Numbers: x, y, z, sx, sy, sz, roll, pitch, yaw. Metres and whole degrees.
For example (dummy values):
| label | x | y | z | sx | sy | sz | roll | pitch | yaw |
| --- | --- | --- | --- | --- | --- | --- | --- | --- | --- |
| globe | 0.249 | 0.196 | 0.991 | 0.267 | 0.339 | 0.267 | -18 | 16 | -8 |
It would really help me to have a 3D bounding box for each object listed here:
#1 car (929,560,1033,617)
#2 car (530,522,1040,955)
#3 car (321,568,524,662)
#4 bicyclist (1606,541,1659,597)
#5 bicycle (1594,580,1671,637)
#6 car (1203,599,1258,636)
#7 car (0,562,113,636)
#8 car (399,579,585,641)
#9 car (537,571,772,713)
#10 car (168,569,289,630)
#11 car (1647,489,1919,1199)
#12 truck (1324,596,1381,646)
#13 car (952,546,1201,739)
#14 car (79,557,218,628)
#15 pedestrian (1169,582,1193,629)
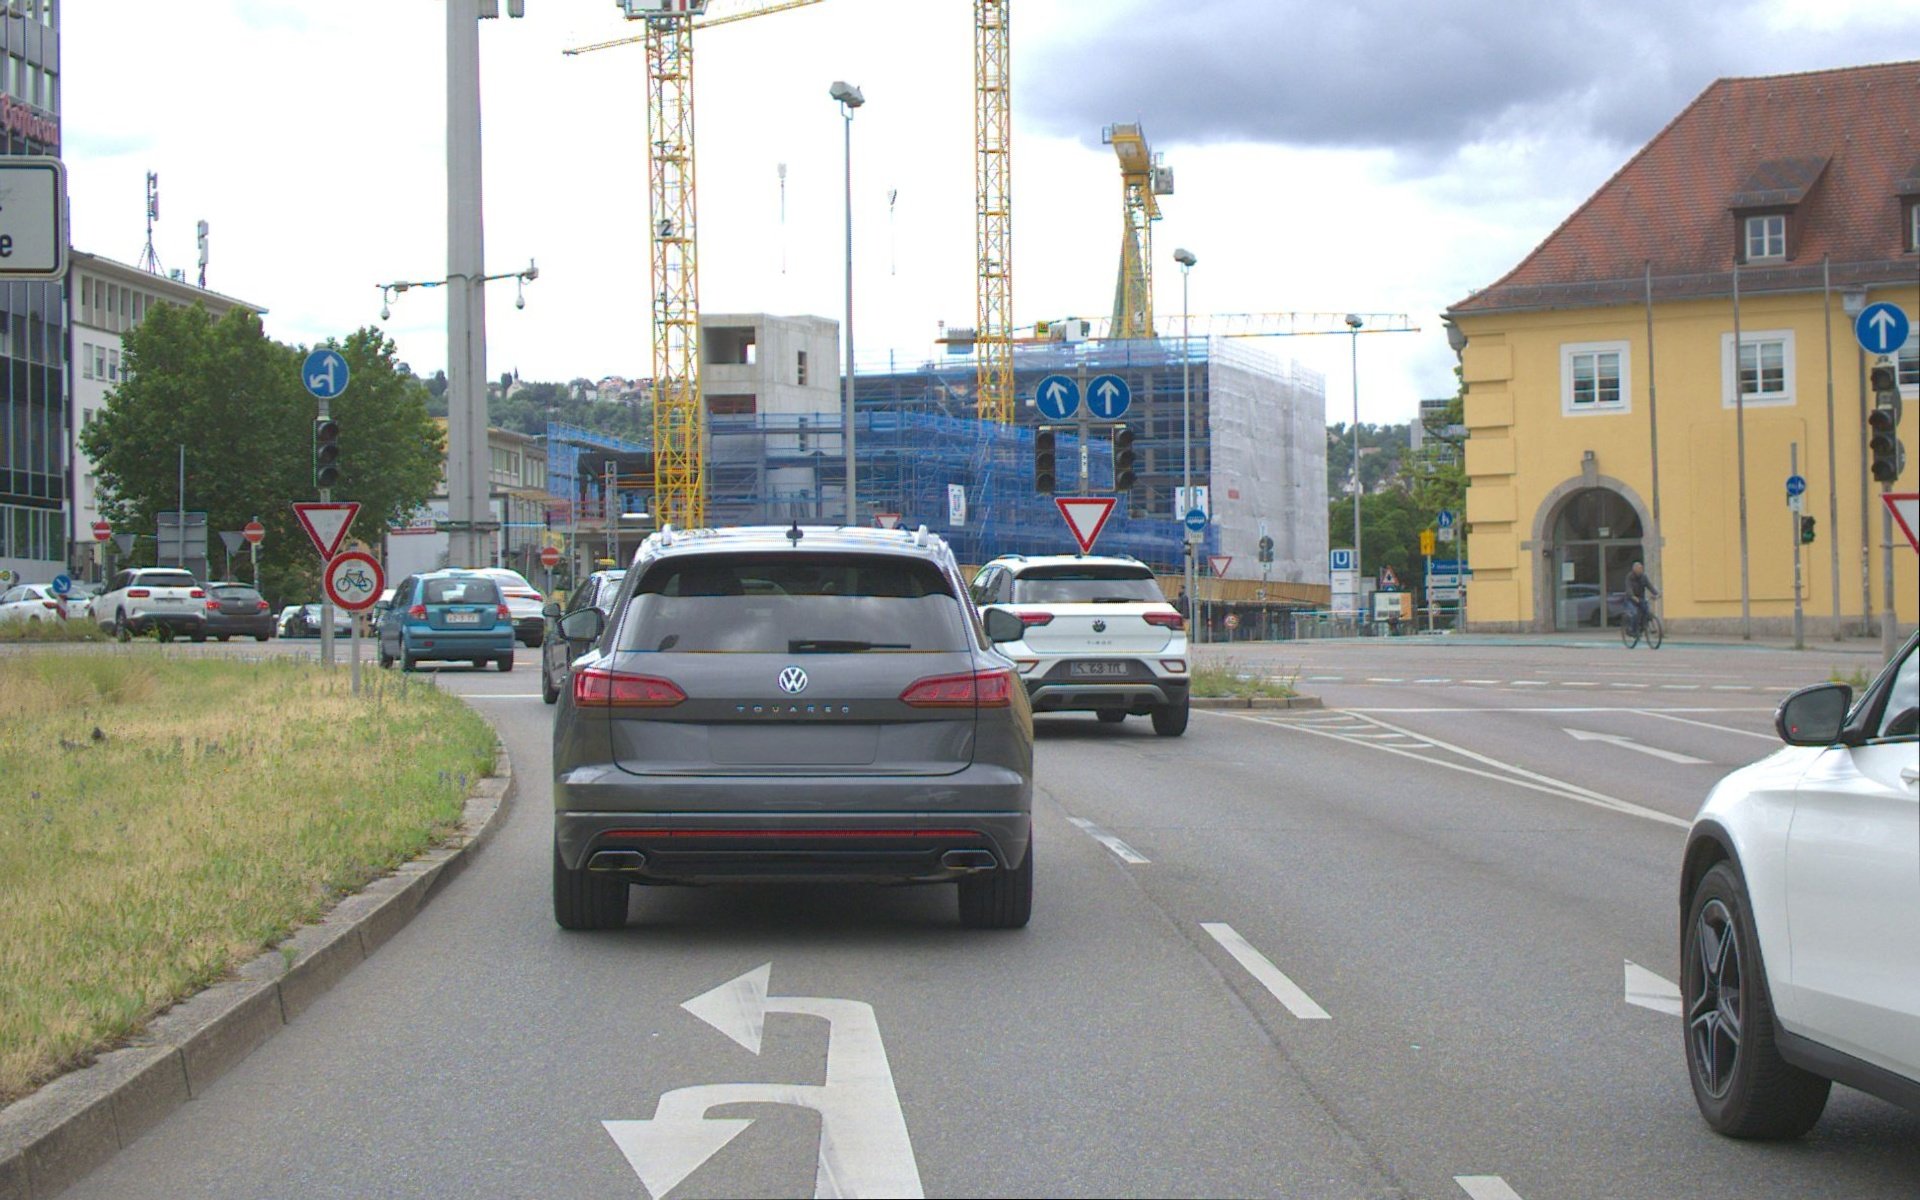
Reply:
| label | x | y | z | sx | sy | sz | roll | pitch | yaw |
| --- | --- | --- | --- | --- | --- | --- | --- | --- | --- |
| car | 0.650 | -0.375 | 102.638 | 1.990 | 1.661 | 3.977 | 0 | 1 | 18 |
| car | -0.681 | 0.486 | 15.072 | 1.933 | 1.641 | 4.000 | 0 | 1 | 0 |
| car | -8.141 | 0.202 | 51.785 | 1.793 | 1.352 | 4.071 | 0 | 1 | -28 |
| bicyclist | 14.101 | -0.657 | 72.096 | 0.923 | 1.155 | 0.725 | 1 | 0 | -5 |
| bicycle | 14.086 | 0.173 | 72.104 | 0.923 | 1.155 | 2.465 | 1 | 1 | -5 |
| car | 11.265 | 0.716 | 142.899 | 1.804 | 1.497 | 3.979 | 0 | 1 | 12 |
| car | -24.777 | -0.052 | 92.365 | 3.997 | 1.605 | 1.896 | 5 | 7 | 40 |
| car | -8.944 | 0.174 | 65.466 | 1.670 | 1.135 | 4.069 | 0 | 1 | -38 |
| car | -3.160 | 0.382 | 34.877 | 1.792 | 1.352 | 4.071 | 0 | 1 | -14 |
| car | -17.662 | -0.029 | 82.922 | 1.640 | 1.392 | 3.597 | 0 | 1 | -34 |
| car | 2.899 | 0.589 | 7.386 | 1.819 | 1.641 | 4.379 | 0 | 1 | -2 |
| truck | 19.755 | 1.041 | 172.953 | 2.129 | 2.445 | 4.824 | 0 | 1 | 15 |
| car | 0.970 | 0.325 | 30.533 | 1.893 | 1.580 | 3.801 | 0 | 1 | -3 |
| car | -17.896 | -0.182 | 75.716 | 1.814 | 1.491 | 3.906 | 0 | 1 | -32 |
| pedestrian | 6.098 | 0.150 | 94.848 | 0.549 | 1.277 | 0.462 | 1 | 0 | 16 |
